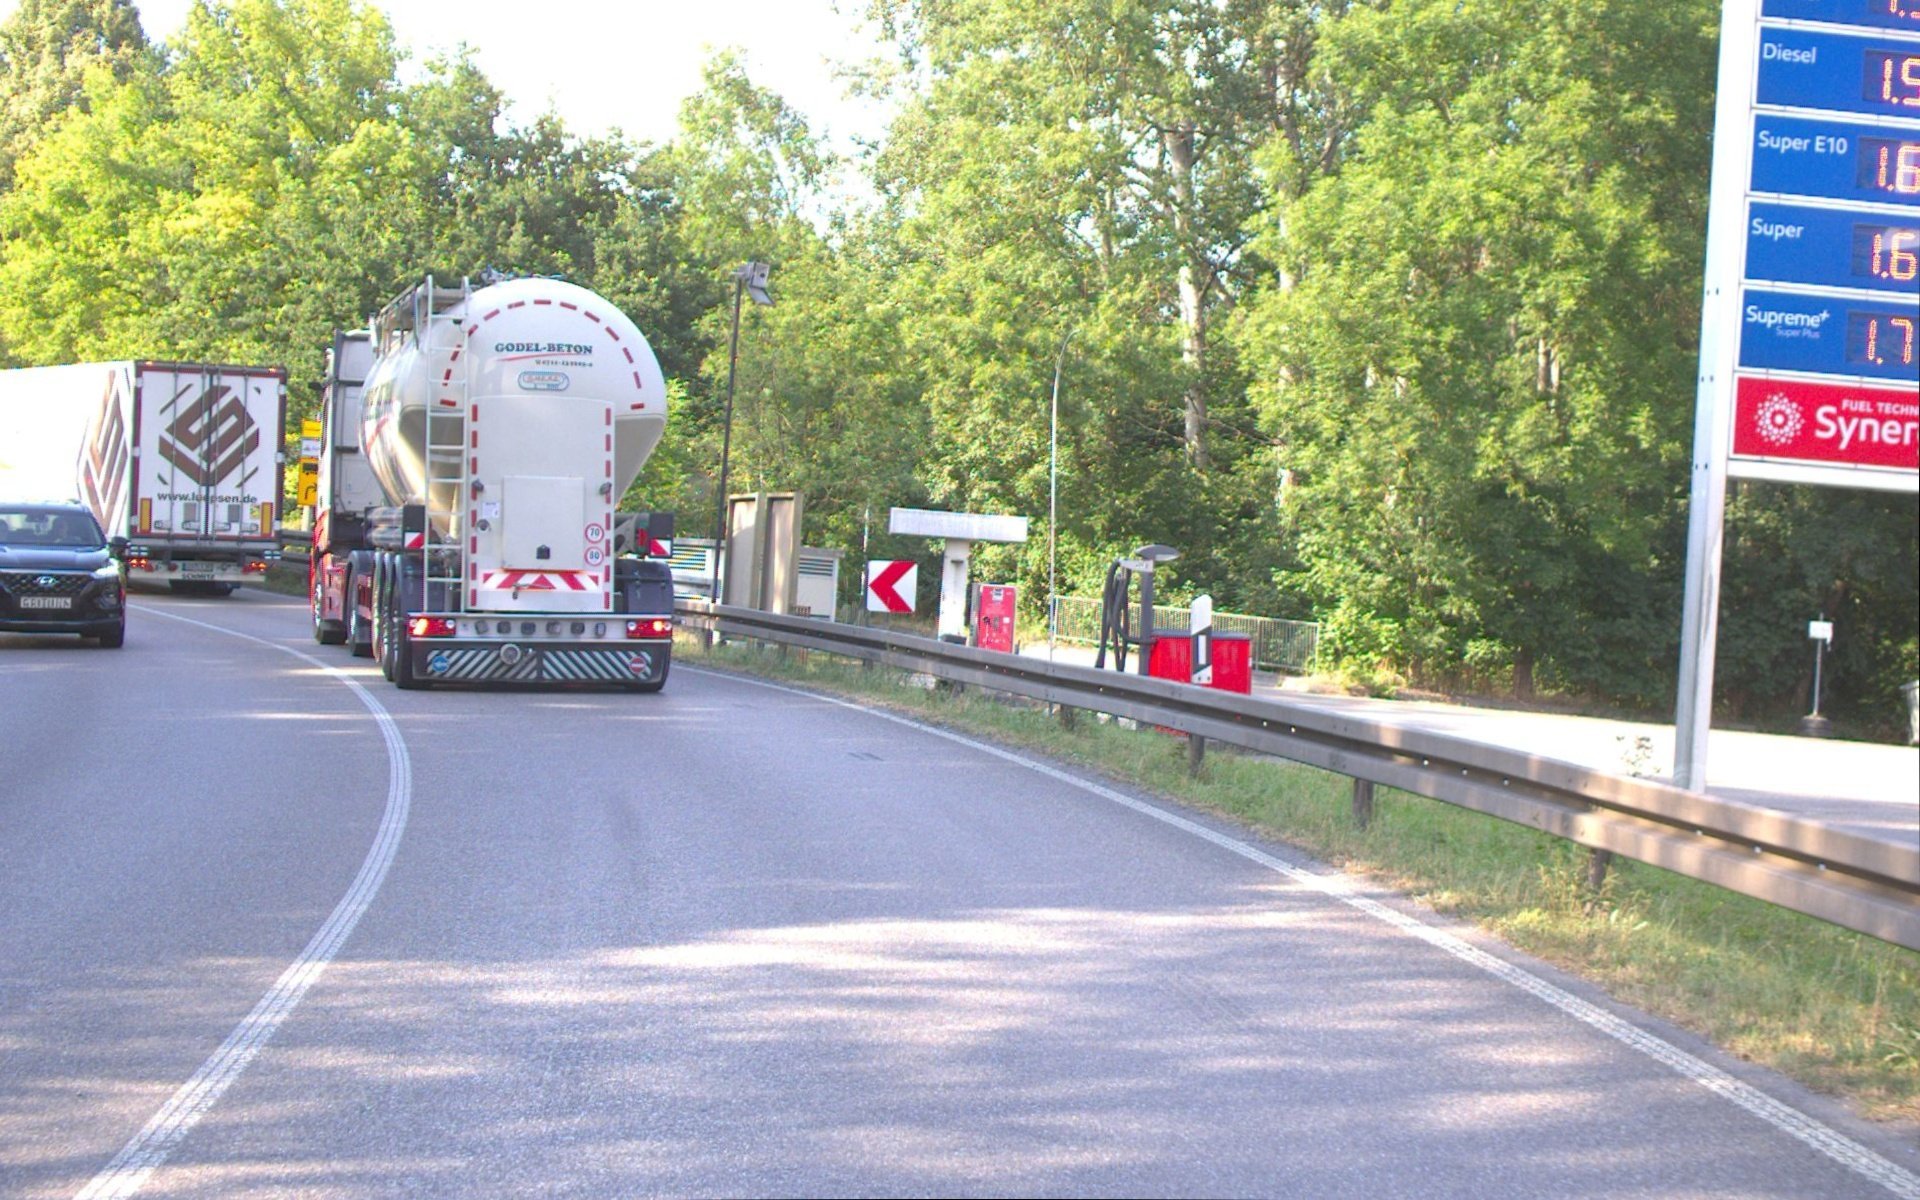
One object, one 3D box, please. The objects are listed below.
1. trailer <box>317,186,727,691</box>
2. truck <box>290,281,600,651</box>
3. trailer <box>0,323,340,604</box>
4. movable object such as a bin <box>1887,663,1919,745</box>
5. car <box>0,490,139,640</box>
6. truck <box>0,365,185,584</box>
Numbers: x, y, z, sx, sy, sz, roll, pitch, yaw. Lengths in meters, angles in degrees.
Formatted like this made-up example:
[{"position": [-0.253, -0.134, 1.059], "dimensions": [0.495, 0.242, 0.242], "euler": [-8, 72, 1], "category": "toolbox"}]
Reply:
[{"position": [-4.793, -1.547, 35.589], "dimensions": [2.885, 4.439, 9.609], "euler": [1, 1, -15], "category": "trailer"}, {"position": [-6.252, -1.543, 40.974], "dimensions": [2.823, 4.021, 5.896], "euler": [1, 1, -16], "category": "truck"}, {"position": [-15.054, -2.493, 63.458], "dimensions": [3.545, 4.497, 12.987], "euler": [3, 1, -26], "category": "trailer"}, {"position": [18.011, 1.965, 61.701], "dimensions": [1.265, 1.415, 2.558], "euler": [6, 0, -20], "category": "movable object such as a bin"}, {"position": [-10.834, -0.454, 40.262], "dimensions": [1.867, 1.647, 4.551], "euler": [0, 2, -20], "category": "car"}, {"position": [-18.442, -2.547, 70.198], "dimensions": [3.449, 4.072, 6.492], "euler": [3, 1, -27], "category": "truck"}]
